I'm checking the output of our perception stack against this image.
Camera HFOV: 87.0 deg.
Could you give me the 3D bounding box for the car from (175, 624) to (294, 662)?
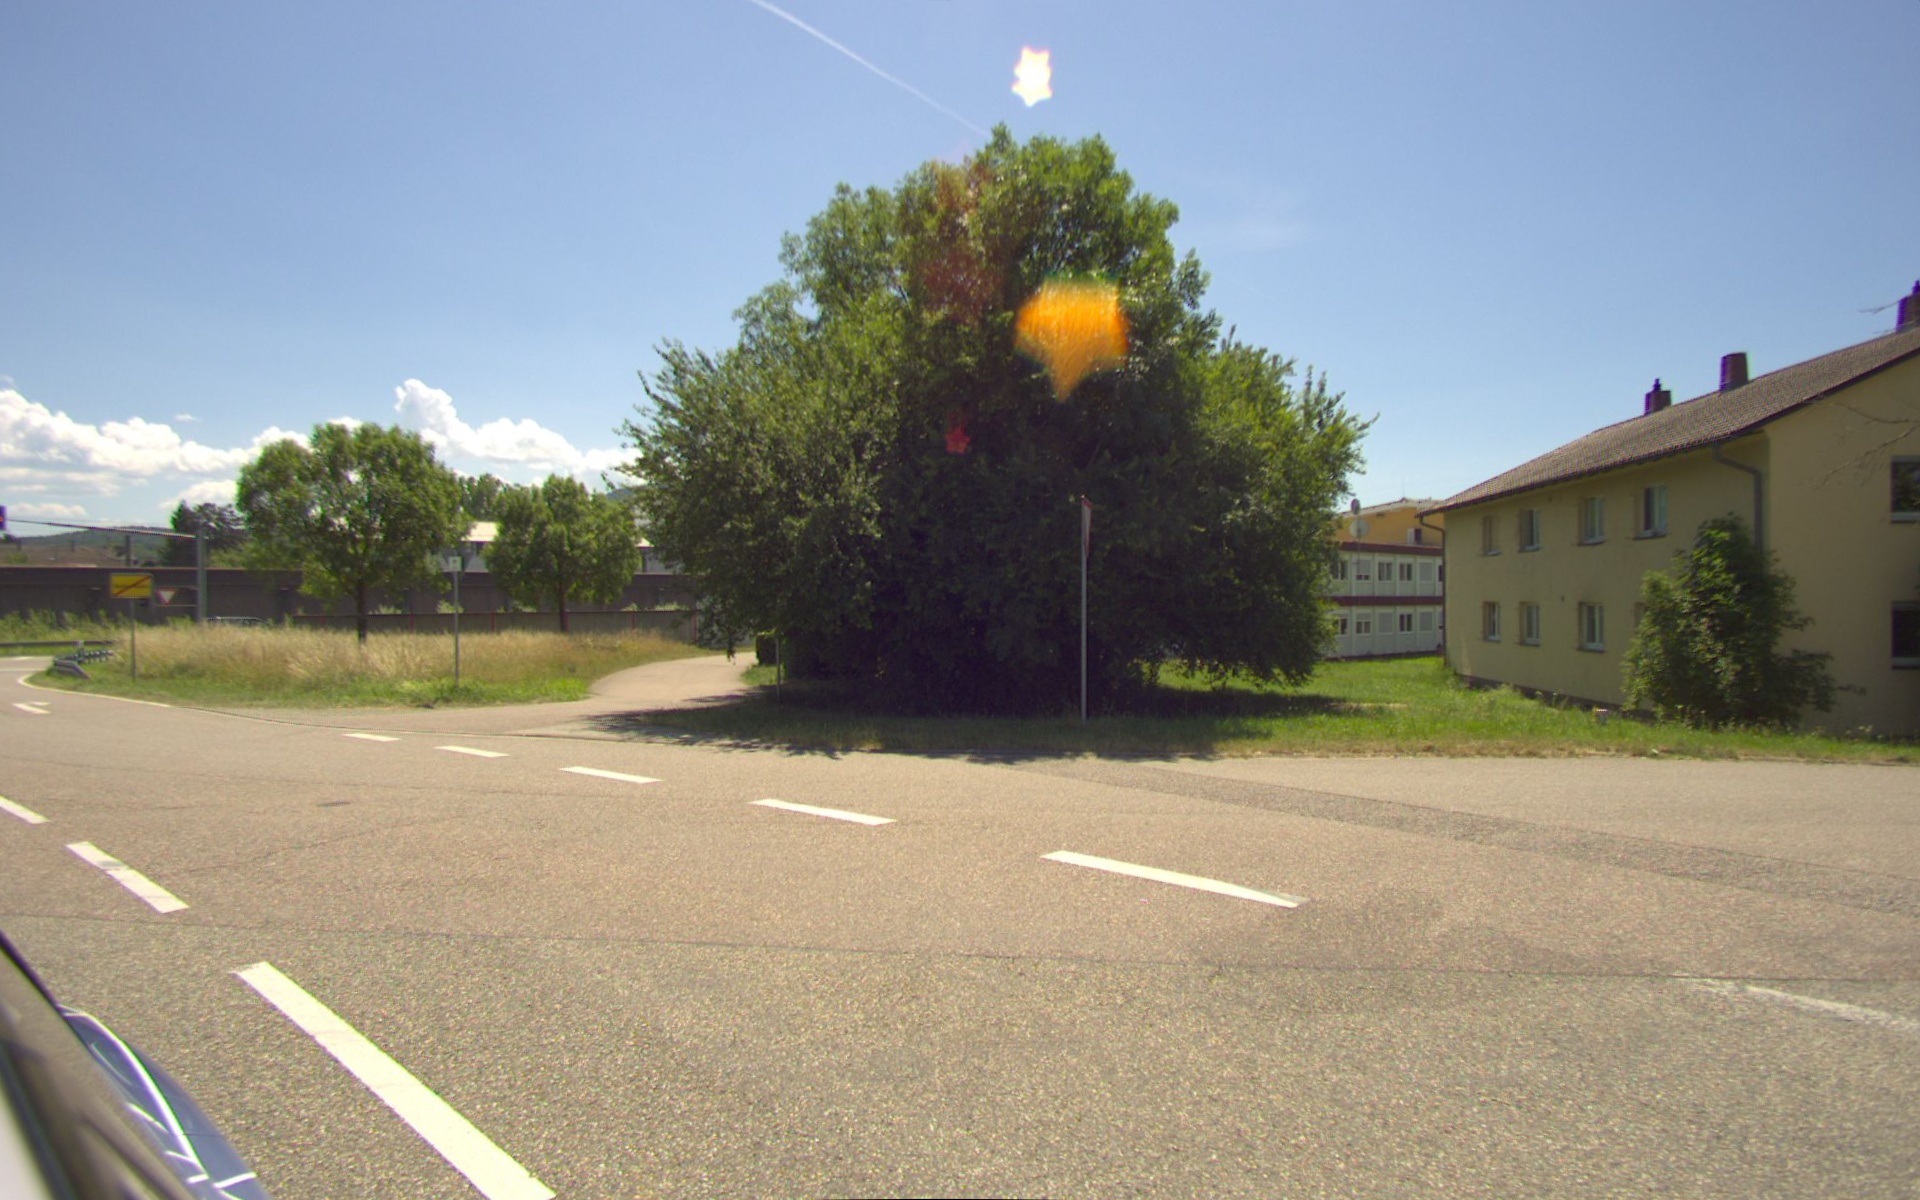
[{"bbox_3d":[-35.861,2.078,50.090,1.998,1.735,4.424,1,0,39],"label":"car"}]
